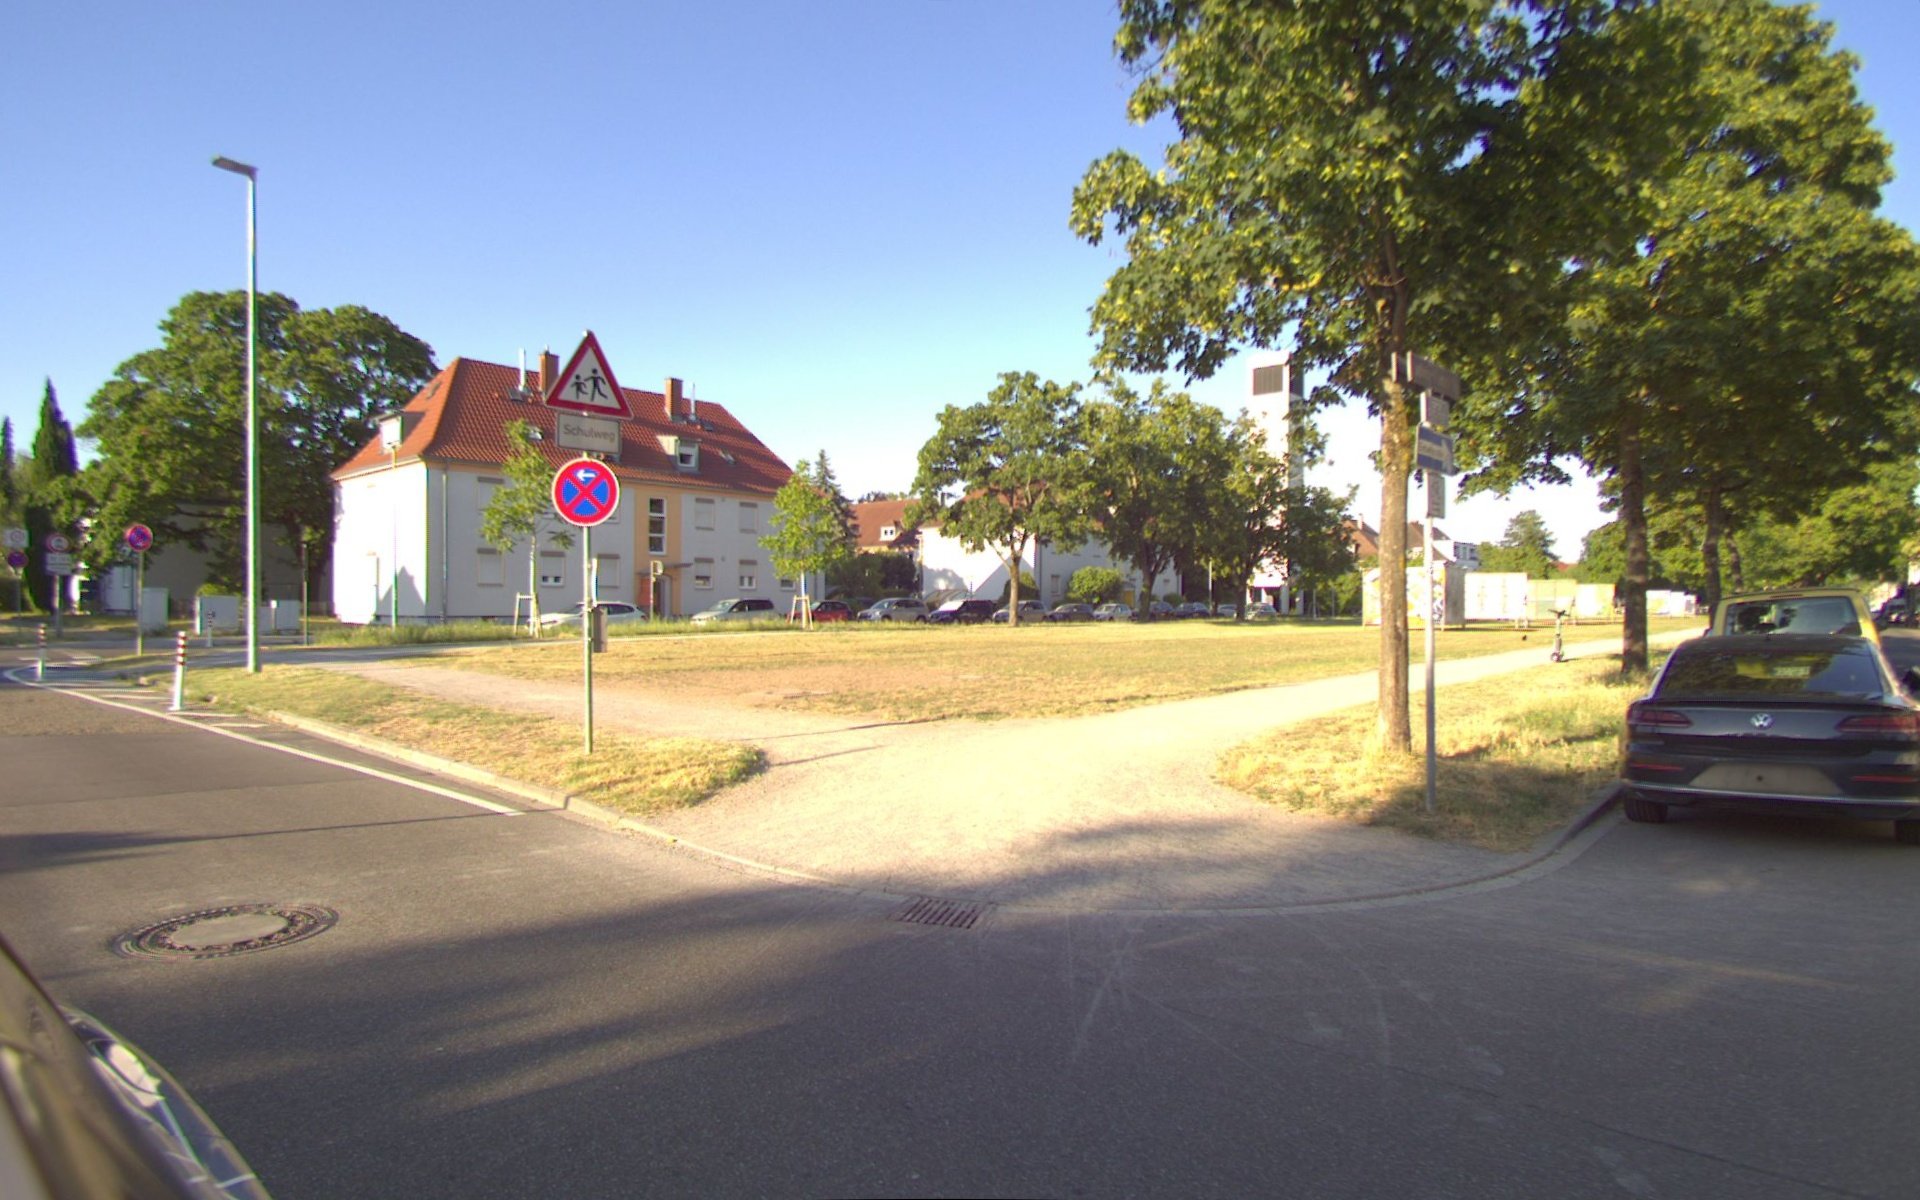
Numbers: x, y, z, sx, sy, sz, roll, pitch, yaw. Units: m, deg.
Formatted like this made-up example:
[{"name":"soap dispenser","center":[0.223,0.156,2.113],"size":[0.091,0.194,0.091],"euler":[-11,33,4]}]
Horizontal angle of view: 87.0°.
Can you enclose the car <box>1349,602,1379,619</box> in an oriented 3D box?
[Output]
[{"name":"car","center":[42.743,1.068,107.116],"size":[1.849,1.708,3.947],"euler":[-2,-2,39]}]

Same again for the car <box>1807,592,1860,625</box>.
[{"name":"car","center":[53.804,0.518,62.294],"size":[2.230,1.960,4.443],"euler":[0,0,44]}]

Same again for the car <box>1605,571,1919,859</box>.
[{"name":"car","center":[6.705,0.674,8.169],"size":[1.788,1.681,4.772],"euler":[0,0,42]}]

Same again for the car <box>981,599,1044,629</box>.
[{"name":"car","center":[3.205,0.829,61.248],"size":[1.849,1.708,3.947],"euler":[-2,-2,39]}]

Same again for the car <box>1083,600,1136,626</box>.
[{"name":"car","center":[10.230,0.866,69.079],"size":[1.849,1.708,3.947],"euler":[-2,-2,39]}]

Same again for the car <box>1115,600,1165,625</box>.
[{"name":"car","center":[13.051,0.917,73.094],"size":[1.849,1.708,3.947],"euler":[-2,-2,39]}]

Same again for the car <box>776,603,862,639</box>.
[{"name":"car","center":[-6.862,1.010,49.384],"size":[1.849,1.708,3.947],"euler":[-2,-2,39]}]

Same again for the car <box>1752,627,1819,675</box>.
[{"name":"car","center":[31.300,1.887,38.350],"size":[1.826,1.592,3.783],"euler":[0,0,41]}]

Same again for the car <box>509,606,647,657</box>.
[{"name":"car","center":[-13.612,1.098,36.239],"size":[1.869,1.708,4.244],"euler":[-2,-2,39]}]

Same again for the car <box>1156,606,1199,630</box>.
[{"name":"car","center":[16.527,1.327,76.789],"size":[1.806,1.730,3.299],"euler":[1,1,41]}]

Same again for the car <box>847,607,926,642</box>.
[{"name":"car","center":[-3.792,1.253,52.600],"size":[1.849,1.708,3.947],"euler":[-2,-2,39]}]

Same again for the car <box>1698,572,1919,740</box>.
[{"name":"car","center":[12.214,0.741,14.646],"size":[2.031,2.029,4.631],"euler":[-5,-3,40]}]

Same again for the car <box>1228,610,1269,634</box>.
[{"name":"car","center":[22.212,1.649,77.947],"size":[1.806,1.730,3.299],"euler":[1,1,41]}]

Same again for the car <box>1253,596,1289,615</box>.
[{"name":"car","center":[28.823,0.515,93.816],"size":[1.849,1.708,3.947],"euler":[-2,-2,39]}]

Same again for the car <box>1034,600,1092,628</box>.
[{"name":"car","center":[6.679,0.891,65.153],"size":[1.849,1.708,3.947],"euler":[-2,-2,39]}]

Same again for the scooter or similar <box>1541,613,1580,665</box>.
[{"name":"scooter or similar","center":[13.567,0.861,22.859],"size":[0.453,1.124,1.625],"euler":[0,0,42]}]

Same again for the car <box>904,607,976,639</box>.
[{"name":"car","center":[-1.056,1.248,56.062],"size":[1.849,1.708,3.947],"euler":[-2,-2,39]}]

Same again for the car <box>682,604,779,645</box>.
[{"name":"car","center":[-10.237,1.079,45.281],"size":[1.849,1.708,3.947],"euler":[-2,-2,39]}]
